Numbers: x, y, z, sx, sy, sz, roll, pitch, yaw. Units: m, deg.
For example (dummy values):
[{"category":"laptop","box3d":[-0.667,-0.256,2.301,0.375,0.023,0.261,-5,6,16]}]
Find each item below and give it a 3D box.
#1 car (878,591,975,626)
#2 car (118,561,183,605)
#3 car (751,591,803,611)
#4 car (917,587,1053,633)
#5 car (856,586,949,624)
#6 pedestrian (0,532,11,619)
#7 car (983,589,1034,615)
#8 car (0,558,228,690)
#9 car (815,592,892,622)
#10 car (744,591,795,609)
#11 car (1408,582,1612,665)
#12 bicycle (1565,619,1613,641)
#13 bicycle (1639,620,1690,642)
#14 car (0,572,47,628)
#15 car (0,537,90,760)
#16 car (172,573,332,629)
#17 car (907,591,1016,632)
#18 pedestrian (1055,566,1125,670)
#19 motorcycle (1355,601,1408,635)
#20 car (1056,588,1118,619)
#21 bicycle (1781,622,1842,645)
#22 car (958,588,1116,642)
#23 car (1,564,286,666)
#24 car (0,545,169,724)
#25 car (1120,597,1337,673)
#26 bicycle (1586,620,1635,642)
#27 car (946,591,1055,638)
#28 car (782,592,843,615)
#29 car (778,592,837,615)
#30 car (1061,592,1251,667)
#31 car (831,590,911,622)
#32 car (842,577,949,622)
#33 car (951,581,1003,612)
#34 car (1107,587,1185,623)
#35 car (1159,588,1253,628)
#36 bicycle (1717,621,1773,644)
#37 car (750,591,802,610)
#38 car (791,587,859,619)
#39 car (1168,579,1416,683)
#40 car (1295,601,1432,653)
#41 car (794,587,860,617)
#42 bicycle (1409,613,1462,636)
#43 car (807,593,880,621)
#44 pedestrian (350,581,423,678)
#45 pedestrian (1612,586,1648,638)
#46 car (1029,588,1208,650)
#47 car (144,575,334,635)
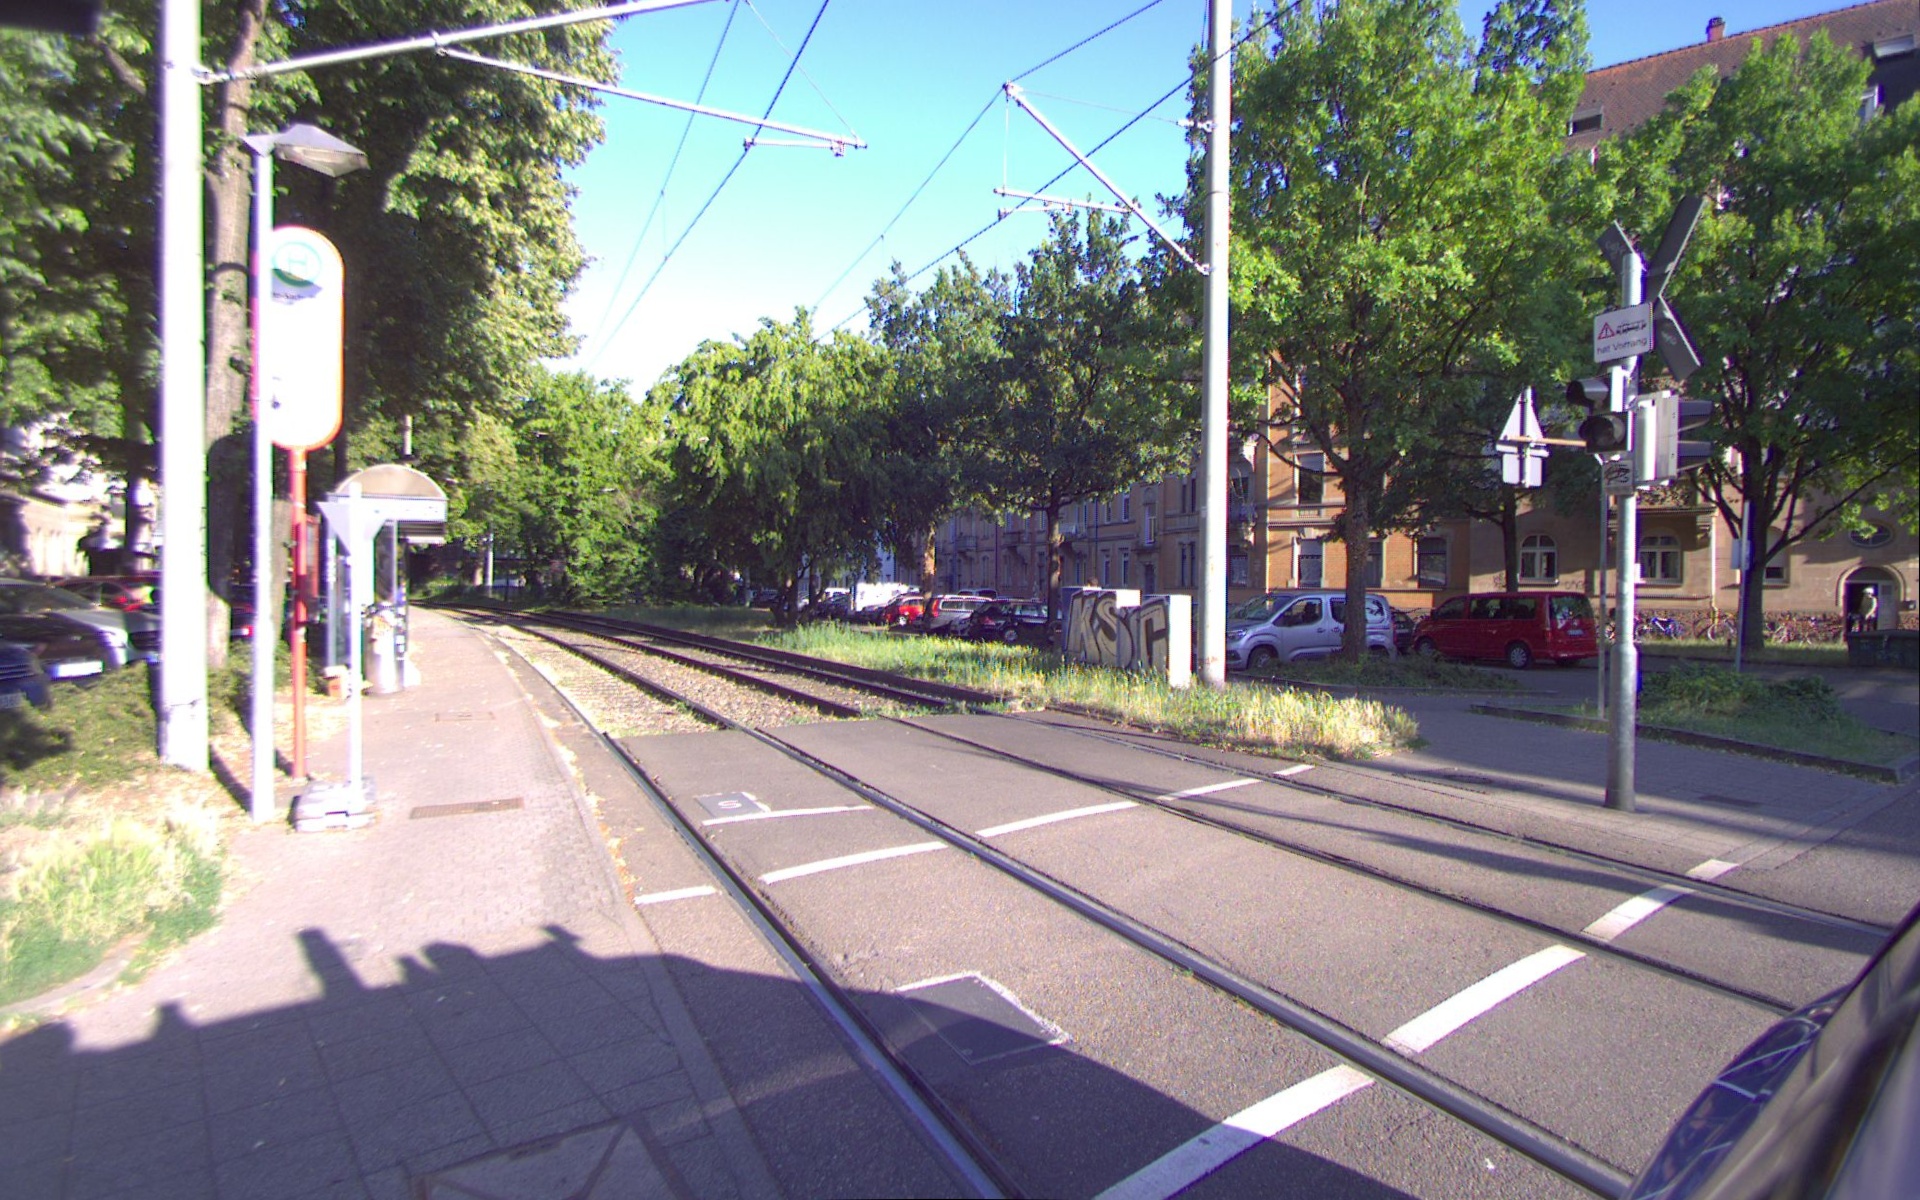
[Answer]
[{"category":"car","box3d":[-1.496,0.377,44.756,3.915,1.441,1.688,2,0,-19]},{"category":"car","box3d":[-42.481,-0.889,53.207,1.960,2.200,4.617,2,0,-30]},{"category":"car","box3d":[-15.311,0.068,84.824,4.046,1.541,1.688,2,0,-19]},{"category":"car","box3d":[0.919,0.376,37.536,4.616,1.592,2.005,1,1,-17]},{"category":"car","box3d":[-2.658,0.231,46.797,3.916,1.600,1.769,2,0,-21]},{"category":"pedestrian","box3d":[-33.280,-0.844,34.697,0.902,2.985,0.701,1,0,-31]},{"category":"car","box3d":[2.877,0.090,60.694,1.732,1.456,3.896,-1,1,-19]},{"category":"car","box3d":[-12.171,0.230,12.812,4.469,1.506,1.928,2,0,3]},{"category":"car","box3d":[-5.858,0.392,55.795,3.915,1.507,1.688,2,0,-19]},{"category":"car","box3d":[-16.795,0.020,89.245,4.176,1.507,1.688,2,0,-19]},{"category":"car","box3d":[14.409,0.535,26.868,1.744,1.958,4.782,-1,1,-19]},{"category":"bicycle","box3d":[23.287,1.113,37.463,1.501,0.741,0.364,1,0,36]},{"category":"bicycle","box3d":[25.127,1.099,36.108,1.501,0.741,0.364,1,0,36]},{"category":"car","box3d":[-29.354,-0.048,30.443,1.960,1.587,4.246,2,0,-31]},{"category":"car","box3d":[-9.516,0.379,7.696,4.335,1.709,1.742,0,0,0]},{"category":"car","box3d":[-23.558,0.035,33.749,4.207,1.717,1.806,2,0,6]},{"category":"car","box3d":[0.055,0.448,39.935,3.915,1.479,1.688,2,0,-19]},{"category":"pedestrian","box3d":[2.514,0.344,19.717,0.886,1.943,1.152,2,0,-18]},{"category":"motorcycle","box3d":[17.440,0.736,41.874,1.887,1.370,0.799,0,-1,36]},{"category":"car","box3d":[6.357,0.145,50.963,1.654,1.494,3.717,-1,1,-18]},{"category":"bicycle","box3d":[28.425,1.119,33.803,1.500,0.741,0.364,-1,-1,36]},{"category":"car","box3d":[2.454,0.476,32.451,4.616,1.592,2.005,1,1,-17]},{"category":"car","box3d":[-15.845,0.256,19.727,4.482,1.743,1.922,2,0,12]},{"category":"car","box3d":[-11.077,0.258,10.380,4.469,1.655,1.928,2,0,3]},{"category":"car","box3d":[6.166,0.791,23.373,4.457,1.592,1.954,1,1,-17]},{"category":"bicycle","box3d":[23.612,1.122,36.750,1.501,0.741,0.364,1,0,36]},{"category":"car","box3d":[1.360,0.483,34.743,3.338,1.533,1.722,1,0,-17]},{"category":"car","box3d":[-10.287,0.265,70.662,3.915,1.507,1.688,2,0,-19]},{"category":"car","box3d":[-10.993,0.240,73.046,3.915,1.507,1.688,2,0,-19]},{"category":"car","box3d":[4.941,0.703,25.499,4.357,1.712,1.954,1,1,-24]},{"category":"car","box3d":[-4.720,0.334,53.542,3.915,1.573,1.688,2,0,-19]},{"category":"car","box3d":[-3.172,-0.019,49.444,4.757,2.064,2.159,2,0,-19]},{"category":"car","box3d":[1.045,-0.223,65.672,1.873,1.906,4.735,-1,1,-19]},{"category":"car","box3d":[8.305,0.196,45.512,1.654,1.494,3.890,-1,1,-21]},{"category":"car","box3d":[9.845,0.275,40.874,1.744,1.494,4.279,-1,1,-17]},{"category":"bicycle","box3d":[27.075,1.112,34.939,1.501,0.741,0.364,1,0,36]},{"category":"car","box3d":[-15.834,0.053,87.067,4.176,1.507,1.688,2,0,-19]},{"category":"car","box3d":[-8.388,0.197,62.974,3.915,1.855,1.688,2,0,-19]},{"category":"car","box3d":[6.739,0.602,20.670,4.457,1.938,1.954,1,1,-17]},{"category":"car","box3d":[12.707,0.793,32.159,1.744,1.451,4.279,-1,1,-17]},{"category":"car","box3d":[-8.617,0.133,65.462,3.915,1.855,1.688,2,0,-19]},{"category":"bicycle","box3d":[19.160,0.982,40.822,1.887,0.859,0.519,0,-1,36]},{"category":"car","box3d":[-6.720,0.384,58.277,3.915,1.507,1.688,2,0,-19]},{"category":"pedestrian","box3d":[-7.916,0.393,13.998,0.808,1.289,0.878,1,0,-27]},{"category":"pedestrian","box3d":[22.905,0.406,34.602,0.664,1.740,0.909,1,-1,-44]},{"category":"car","box3d":[4.374,0.526,28.065,4.457,1.592,1.954,1,1,-17]},{"category":"car","box3d":[-20.218,0.137,28.479,4.207,1.506,1.806,2,0,6]}]
